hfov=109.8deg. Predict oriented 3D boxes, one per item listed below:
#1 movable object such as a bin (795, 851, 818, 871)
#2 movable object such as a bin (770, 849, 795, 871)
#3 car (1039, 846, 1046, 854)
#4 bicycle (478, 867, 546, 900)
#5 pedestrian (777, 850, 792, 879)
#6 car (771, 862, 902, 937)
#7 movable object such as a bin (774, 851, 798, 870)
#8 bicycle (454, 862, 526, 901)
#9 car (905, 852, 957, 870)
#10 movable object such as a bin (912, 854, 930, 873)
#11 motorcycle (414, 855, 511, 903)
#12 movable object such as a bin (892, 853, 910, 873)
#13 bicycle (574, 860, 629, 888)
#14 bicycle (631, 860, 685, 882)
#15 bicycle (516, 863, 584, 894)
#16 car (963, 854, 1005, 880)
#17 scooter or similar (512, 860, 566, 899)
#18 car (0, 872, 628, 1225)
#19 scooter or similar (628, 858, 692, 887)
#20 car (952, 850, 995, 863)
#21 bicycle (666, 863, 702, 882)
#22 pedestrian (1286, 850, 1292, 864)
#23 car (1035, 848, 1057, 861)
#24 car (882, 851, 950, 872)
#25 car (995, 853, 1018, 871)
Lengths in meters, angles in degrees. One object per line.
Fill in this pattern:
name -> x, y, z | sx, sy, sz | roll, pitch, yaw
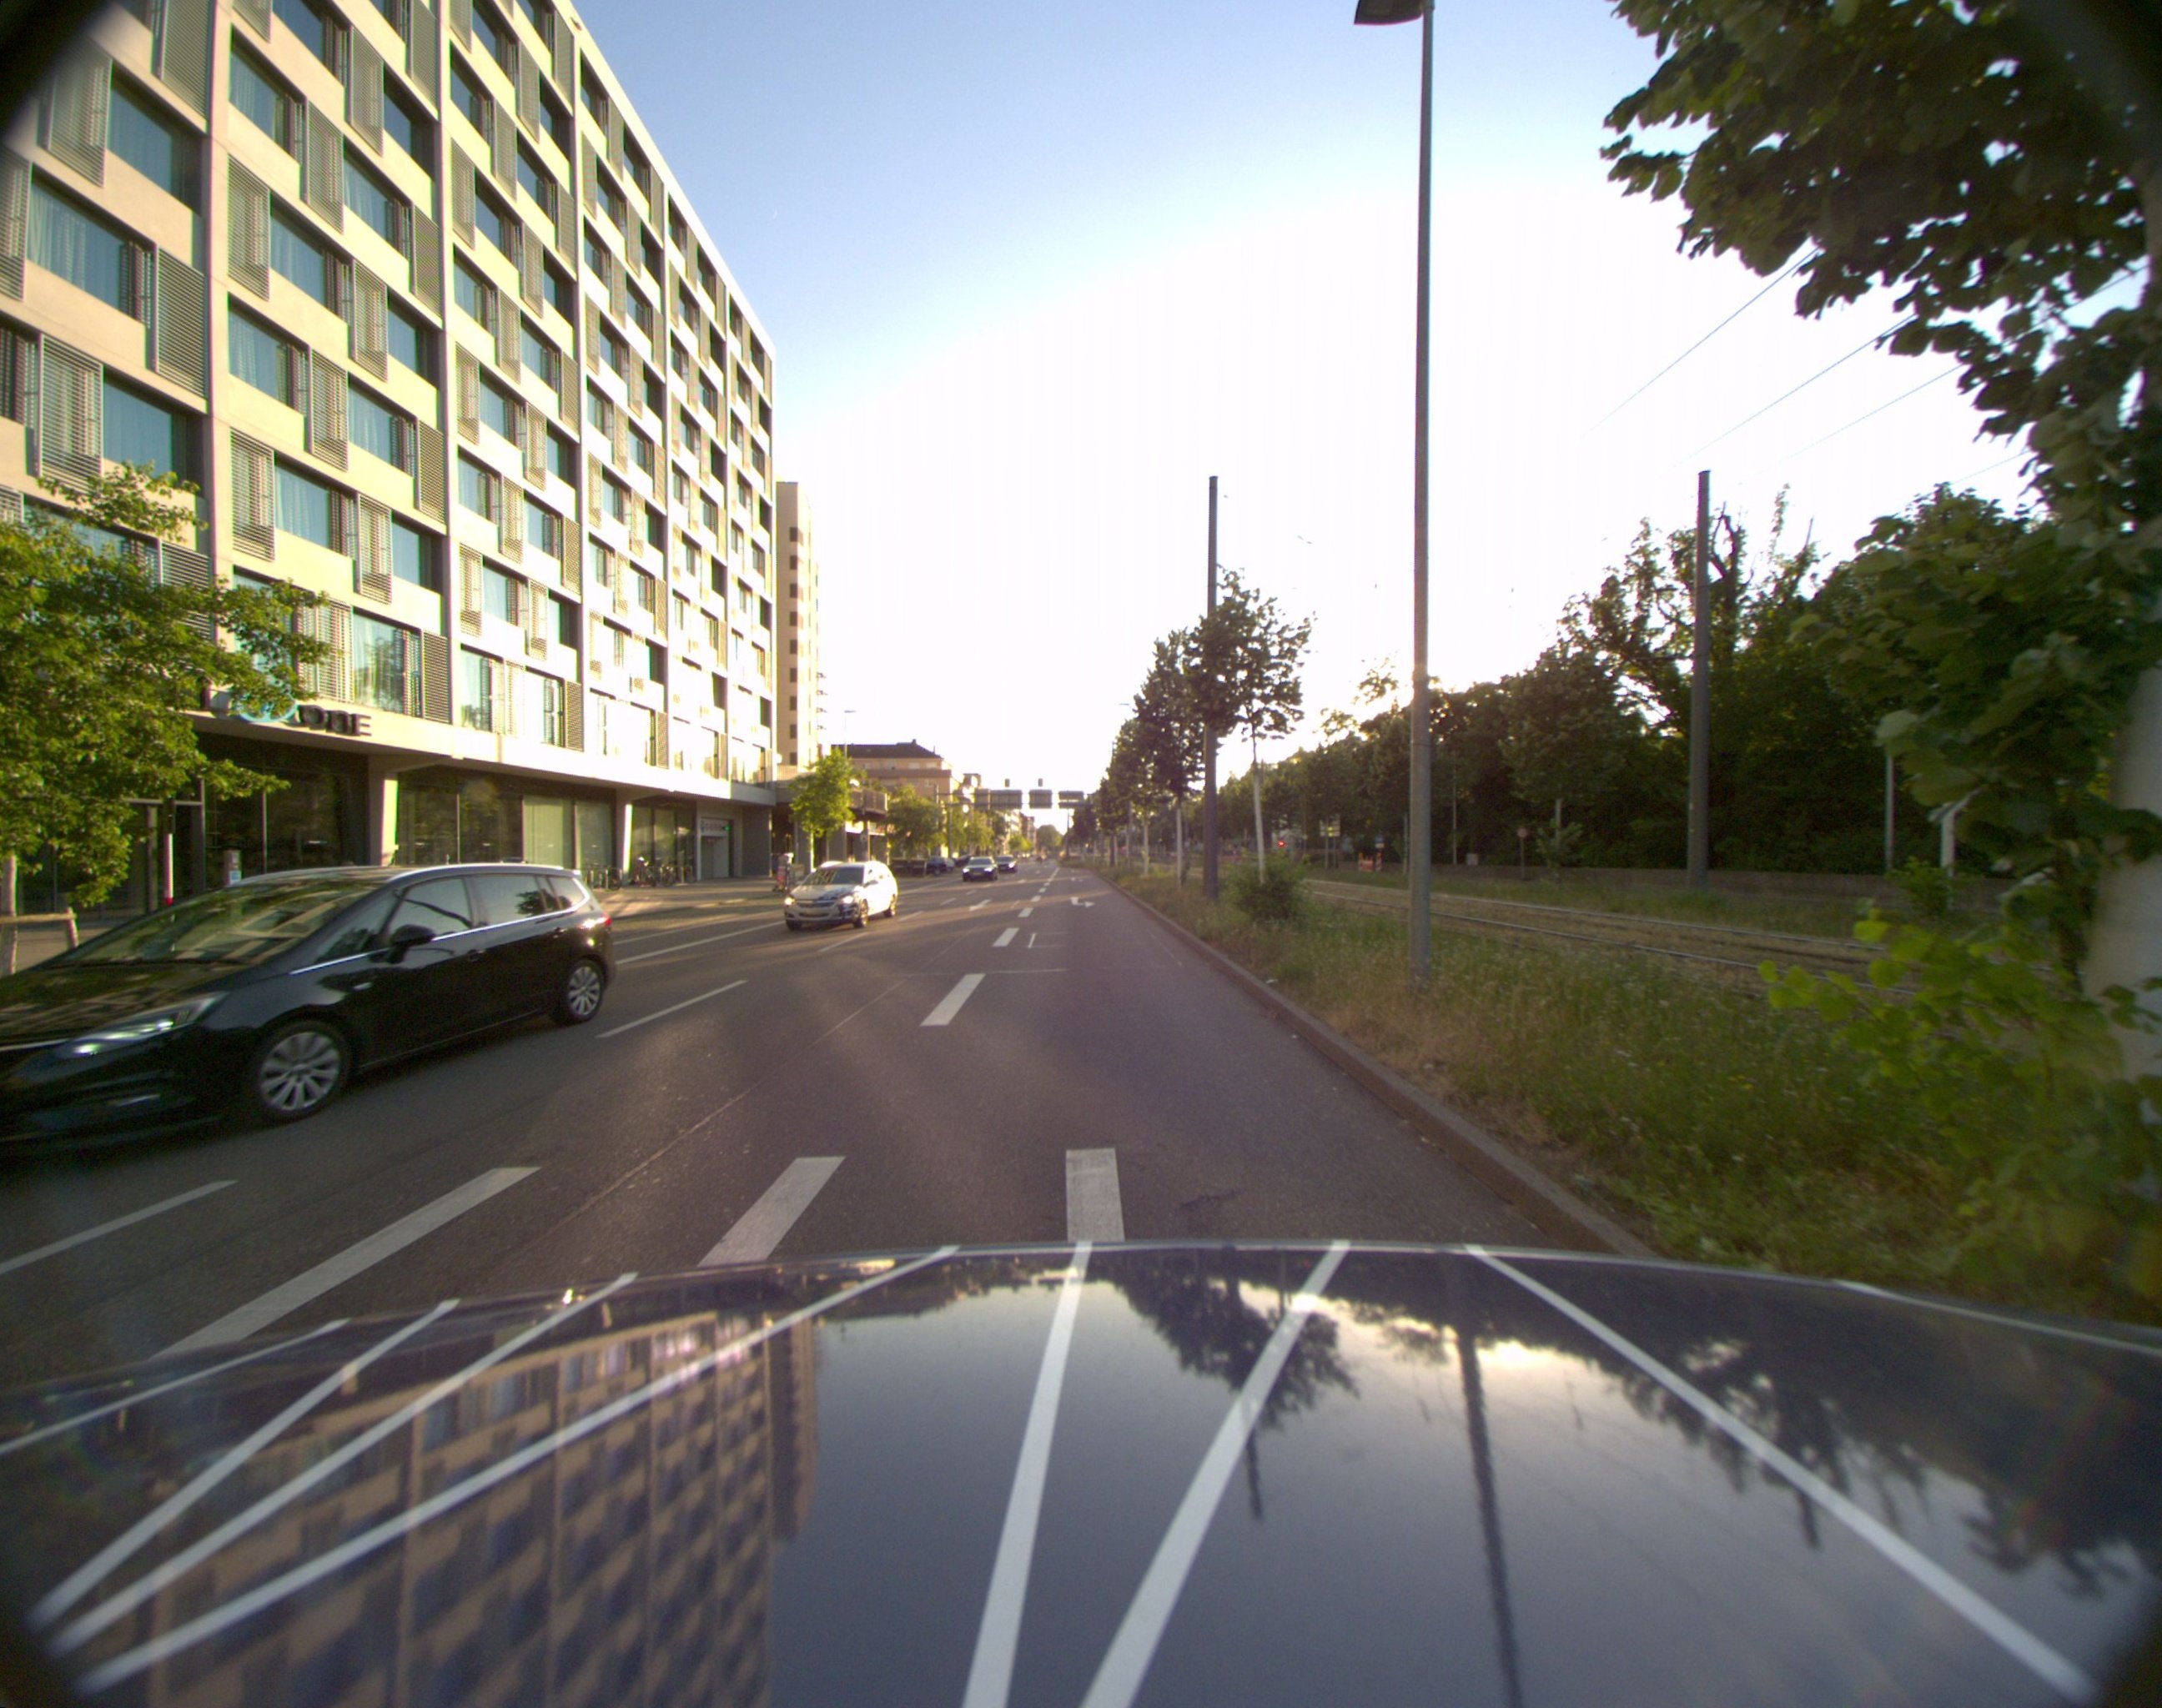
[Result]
movable object such as a bin -> -19.076, 0.471, 52.817 | 1.185, 1.315, 1.266 | 3, 0, -3
movable object such as a bin -> -19.017, 0.392, 48.426 | 1.108, 1.322, 1.282 | 2, 1, -2
car -> -9.823, -0.953, 194.596 | 1.727, 1.910, 4.292 | -2, 0, -5
bicycle -> -18.170, 0.930, 24.285 | 1.704, 0.980, 0.550 | 2, 1, -4
pedestrian -> -16.382, 0.572, 42.035 | 0.578, 1.609, 0.643 | 2, 1, -4
car -> -5.699, 0.999, 18.309 | 1.833, 1.455, 4.302 | -2, 0, -2
movable object such as a bin -> -20.442, 0.457, 52.678 | 1.185, 1.291, 1.304 | 0, 1, -3
bicycle -> -18.156, 0.851, 23.377 | 1.612, 1.148, 0.611 | 2, 1, -13
car -> -12.778, 0.637, 64.841 | 3.999, 1.408, 1.746 | 2, 1, -39
movable object such as a bin -> -11.299, 0.683, 53.656 | 1.088, 1.294, 1.360 | 2, 1, -7
motorcycle -> -18.275, 0.736, 22.510 | 2.120, 1.378, 0.671 | 1, 0, -15
movable object such as a bin -> -12.658, 0.642, 53.534 | 1.017, 1.339, 1.160 | 2, 0, -6
bicycle -> -18.295, 0.755, 29.006 | 1.704, 0.980, 0.550 | 2, 1, -4
bicycle -> -18.925, 0.771, 34.022 | 2.022, 0.952, 0.620 | 1, 1, -7
bicycle -> -18.357, 0.842, 26.277 | 1.890, 1.004, 0.565 | 2, 1, -3
car -> -5.852, 0.746, 46.172 | 1.915, 1.387, 4.276 | -2, 0, 1
scooter or similar -> -17.768, 0.840, 24.928 | 1.271, 1.226, 0.608 | 2, 0, -5
car -> -5.789, 1.028, 5.900 | 1.827, 1.589, 4.367 | -2, 0, 1
scooter or similar -> -17.966, 0.774, 32.460 | 2.378, 1.176, 0.620 | 1, 1, -2
car -> -12.292, 0.286, 86.856 | 4.617, 1.445, 1.808 | 1, 0, -42
bicycle -> -18.602, 0.859, 35.578 | 1.425, 0.886, 0.457 | 0, 1, -2
pedestrian -> 24.678, 0.378, 90.077 | 0.670, 1.597, 0.678 | -2, -3, 13
car -> -4.756, 0.058, 103.977 | 1.965, 1.696, 5.104 | -2, 0, 8
car -> -12.611, 0.586, 58.300 | 4.679, 1.500, 1.933 | 2, 1, -40
car -> -6.250, 0.616, 64.044 | 1.863, 1.387, 4.274 | -2, 0, -5
